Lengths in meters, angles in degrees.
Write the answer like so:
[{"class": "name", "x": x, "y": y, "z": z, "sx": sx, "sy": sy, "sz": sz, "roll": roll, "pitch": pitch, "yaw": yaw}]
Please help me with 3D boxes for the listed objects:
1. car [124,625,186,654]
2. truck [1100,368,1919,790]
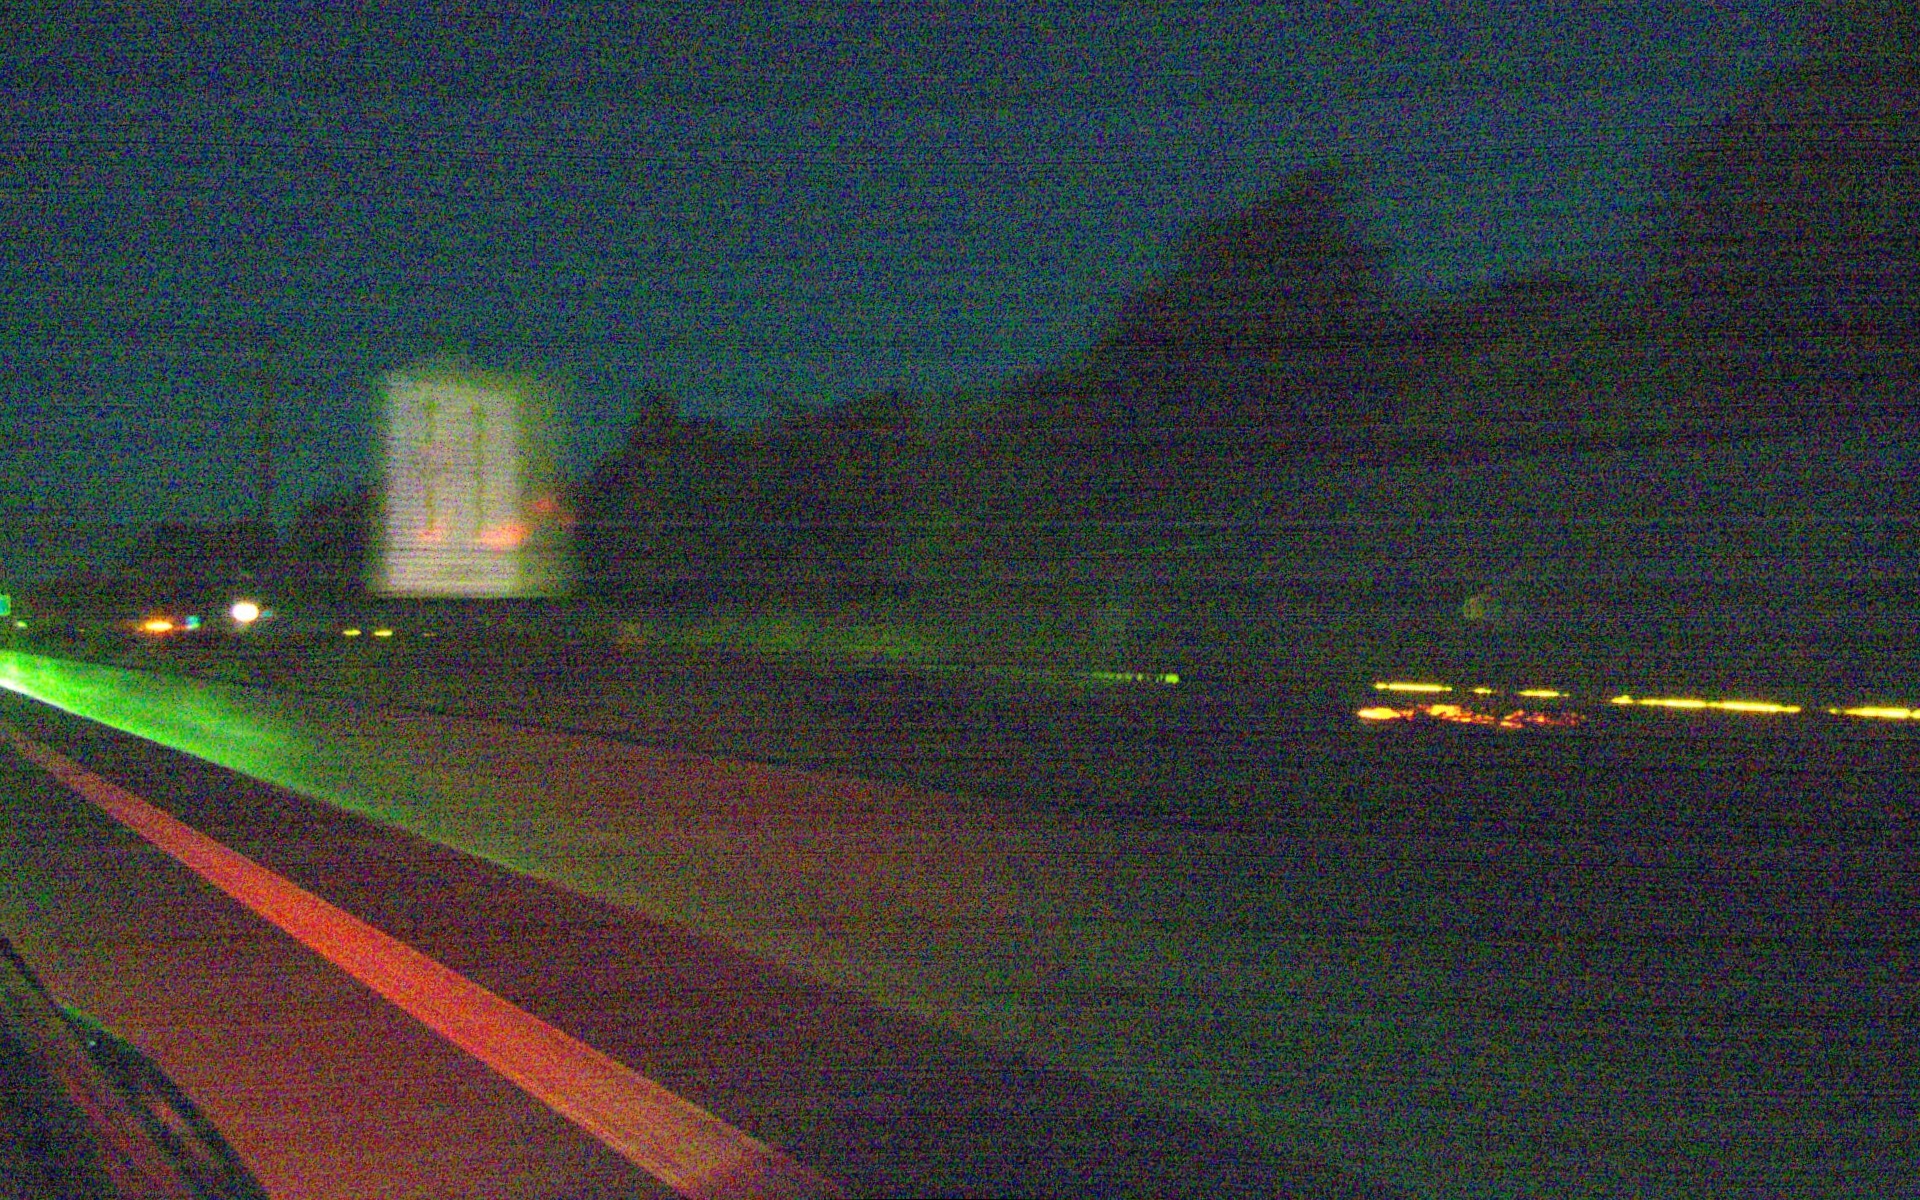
[{"class": "car", "x": -43.183, "y": 2.109, "z": 54.258, "sx": 4.750, "sy": 1.490, "sz": 1.732, "roll": -2, "pitch": -4, "yaw": 41}, {"class": "truck", "x": 9.696, "y": -0.124, "z": 12.067, "sx": 16.967, "sy": 4.235, "sz": 3.081, "roll": -2, "pitch": -4, "yaw": 41}]
